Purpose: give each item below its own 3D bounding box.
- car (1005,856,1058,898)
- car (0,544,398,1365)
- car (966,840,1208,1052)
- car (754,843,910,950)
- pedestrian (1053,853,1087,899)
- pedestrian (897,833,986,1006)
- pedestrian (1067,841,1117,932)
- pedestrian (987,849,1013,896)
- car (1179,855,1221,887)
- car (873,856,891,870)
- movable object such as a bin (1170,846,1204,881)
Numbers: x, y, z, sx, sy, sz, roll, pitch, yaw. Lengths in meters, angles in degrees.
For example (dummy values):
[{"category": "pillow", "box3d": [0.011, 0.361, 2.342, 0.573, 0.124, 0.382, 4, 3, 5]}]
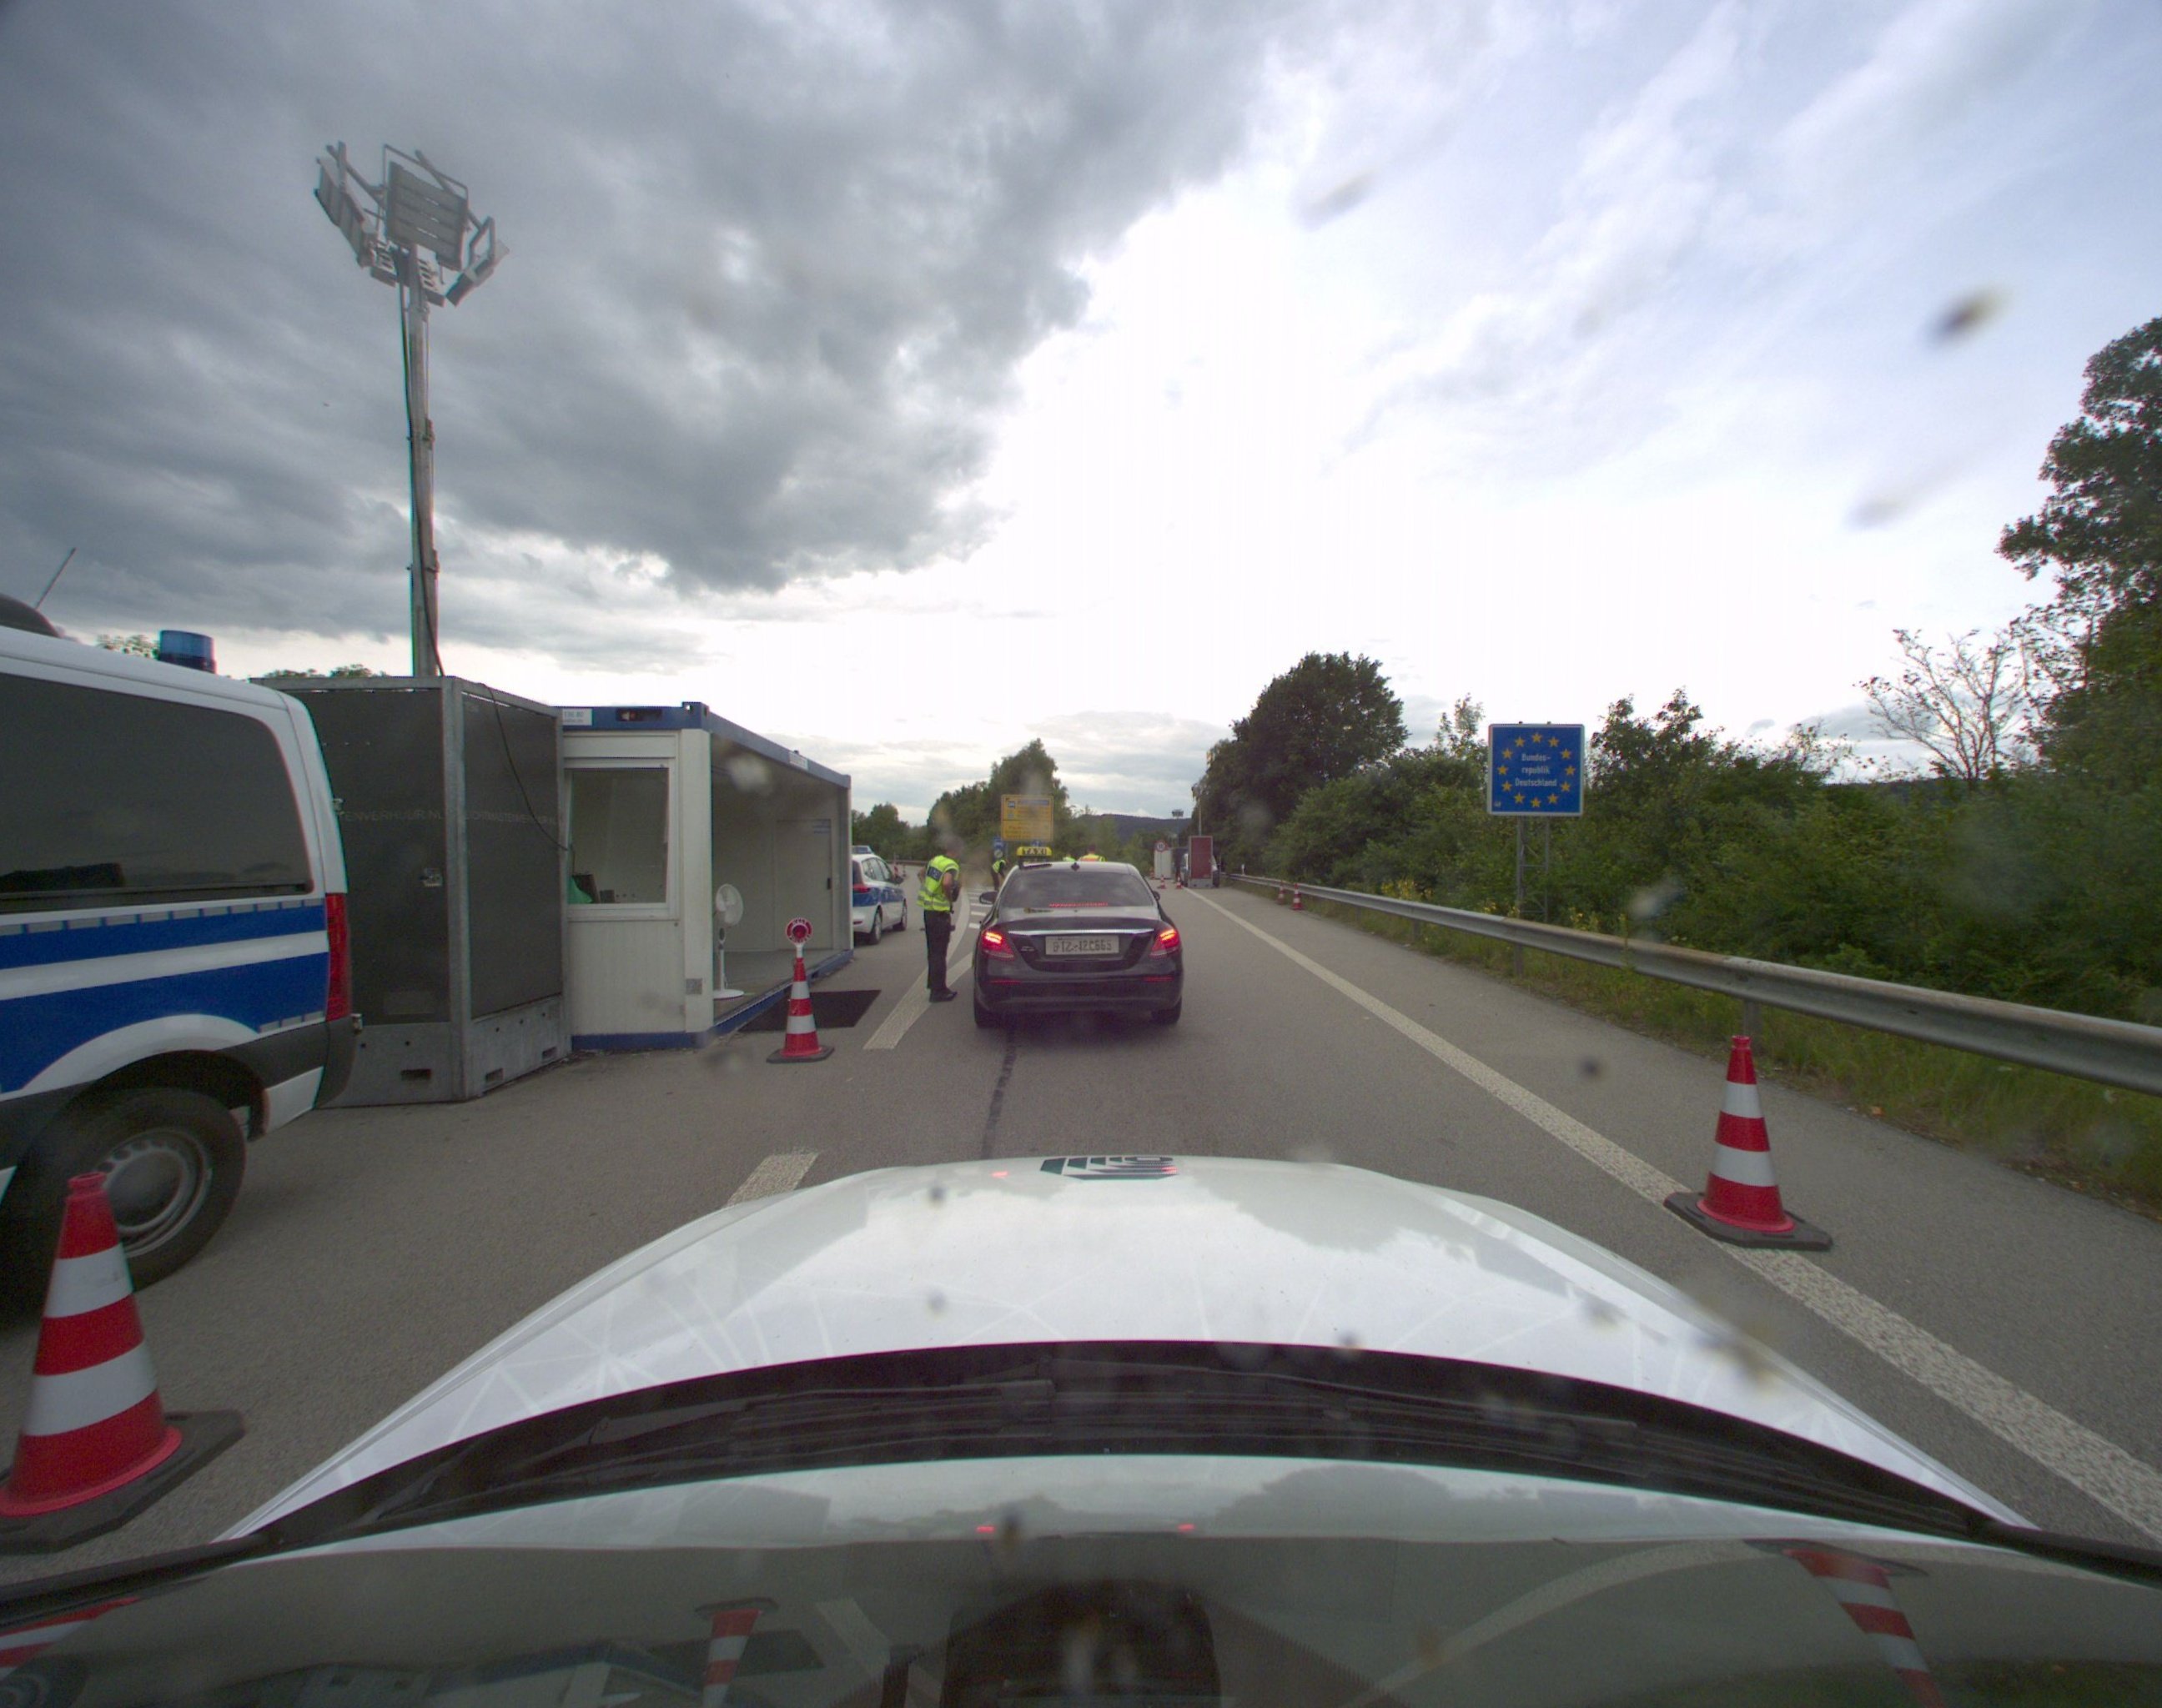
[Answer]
[{"category": "car", "box3d": [-1.831, 0.826, 31.383, 1.850, 1.498, 4.254, -1, 0, -1]}, {"category": "car", "box3d": [-4.226, 0.306, 1.226, 2.023, 2.463, 5.276, -1, 0, -2]}, {"category": "car", "box3d": [-0.053, 0.709, 8.469, 1.851, 1.595, 4.370, -1, 0, -3]}, {"category": "car", "box3d": [-4.553, 0.709, 15.532, 1.864, 1.743, 4.004, -1, 0, -2]}, {"category": "pedestrian", "box3d": [-0.413, 0.814, 30.499, 0.914, 1.698, 0.905, 0, -1, -30]}, {"category": "pedestrian", "box3d": [-1.493, 0.657, 8.644, 0.817, 1.718, 0.758, -1, -1, -18]}, {"category": "pedestrian", "box3d": [0.240, 0.668, 16.993, 0.806, 1.830, 0.813, -1, -1, 18]}, {"category": "pedestrian", "box3d": [-3.120, 0.716, 31.315, 0.908, 1.769, 0.911, -1, 0, -1]}, {"category": "car", "box3d": [6.703, 0.897, 46.216, 1.908, 1.678, 5.087, 1, 0, 3]}, {"category": "car", "box3d": [-22.910, 1.017, 93.944, 1.857, 1.498, 4.238, -1, 0, -13]}, {"category": "movable object such as a bin", "box3d": [7.128, 0.626, 55.058, 1.985, 2.280, 4.172, -1, 0, 4]}]
